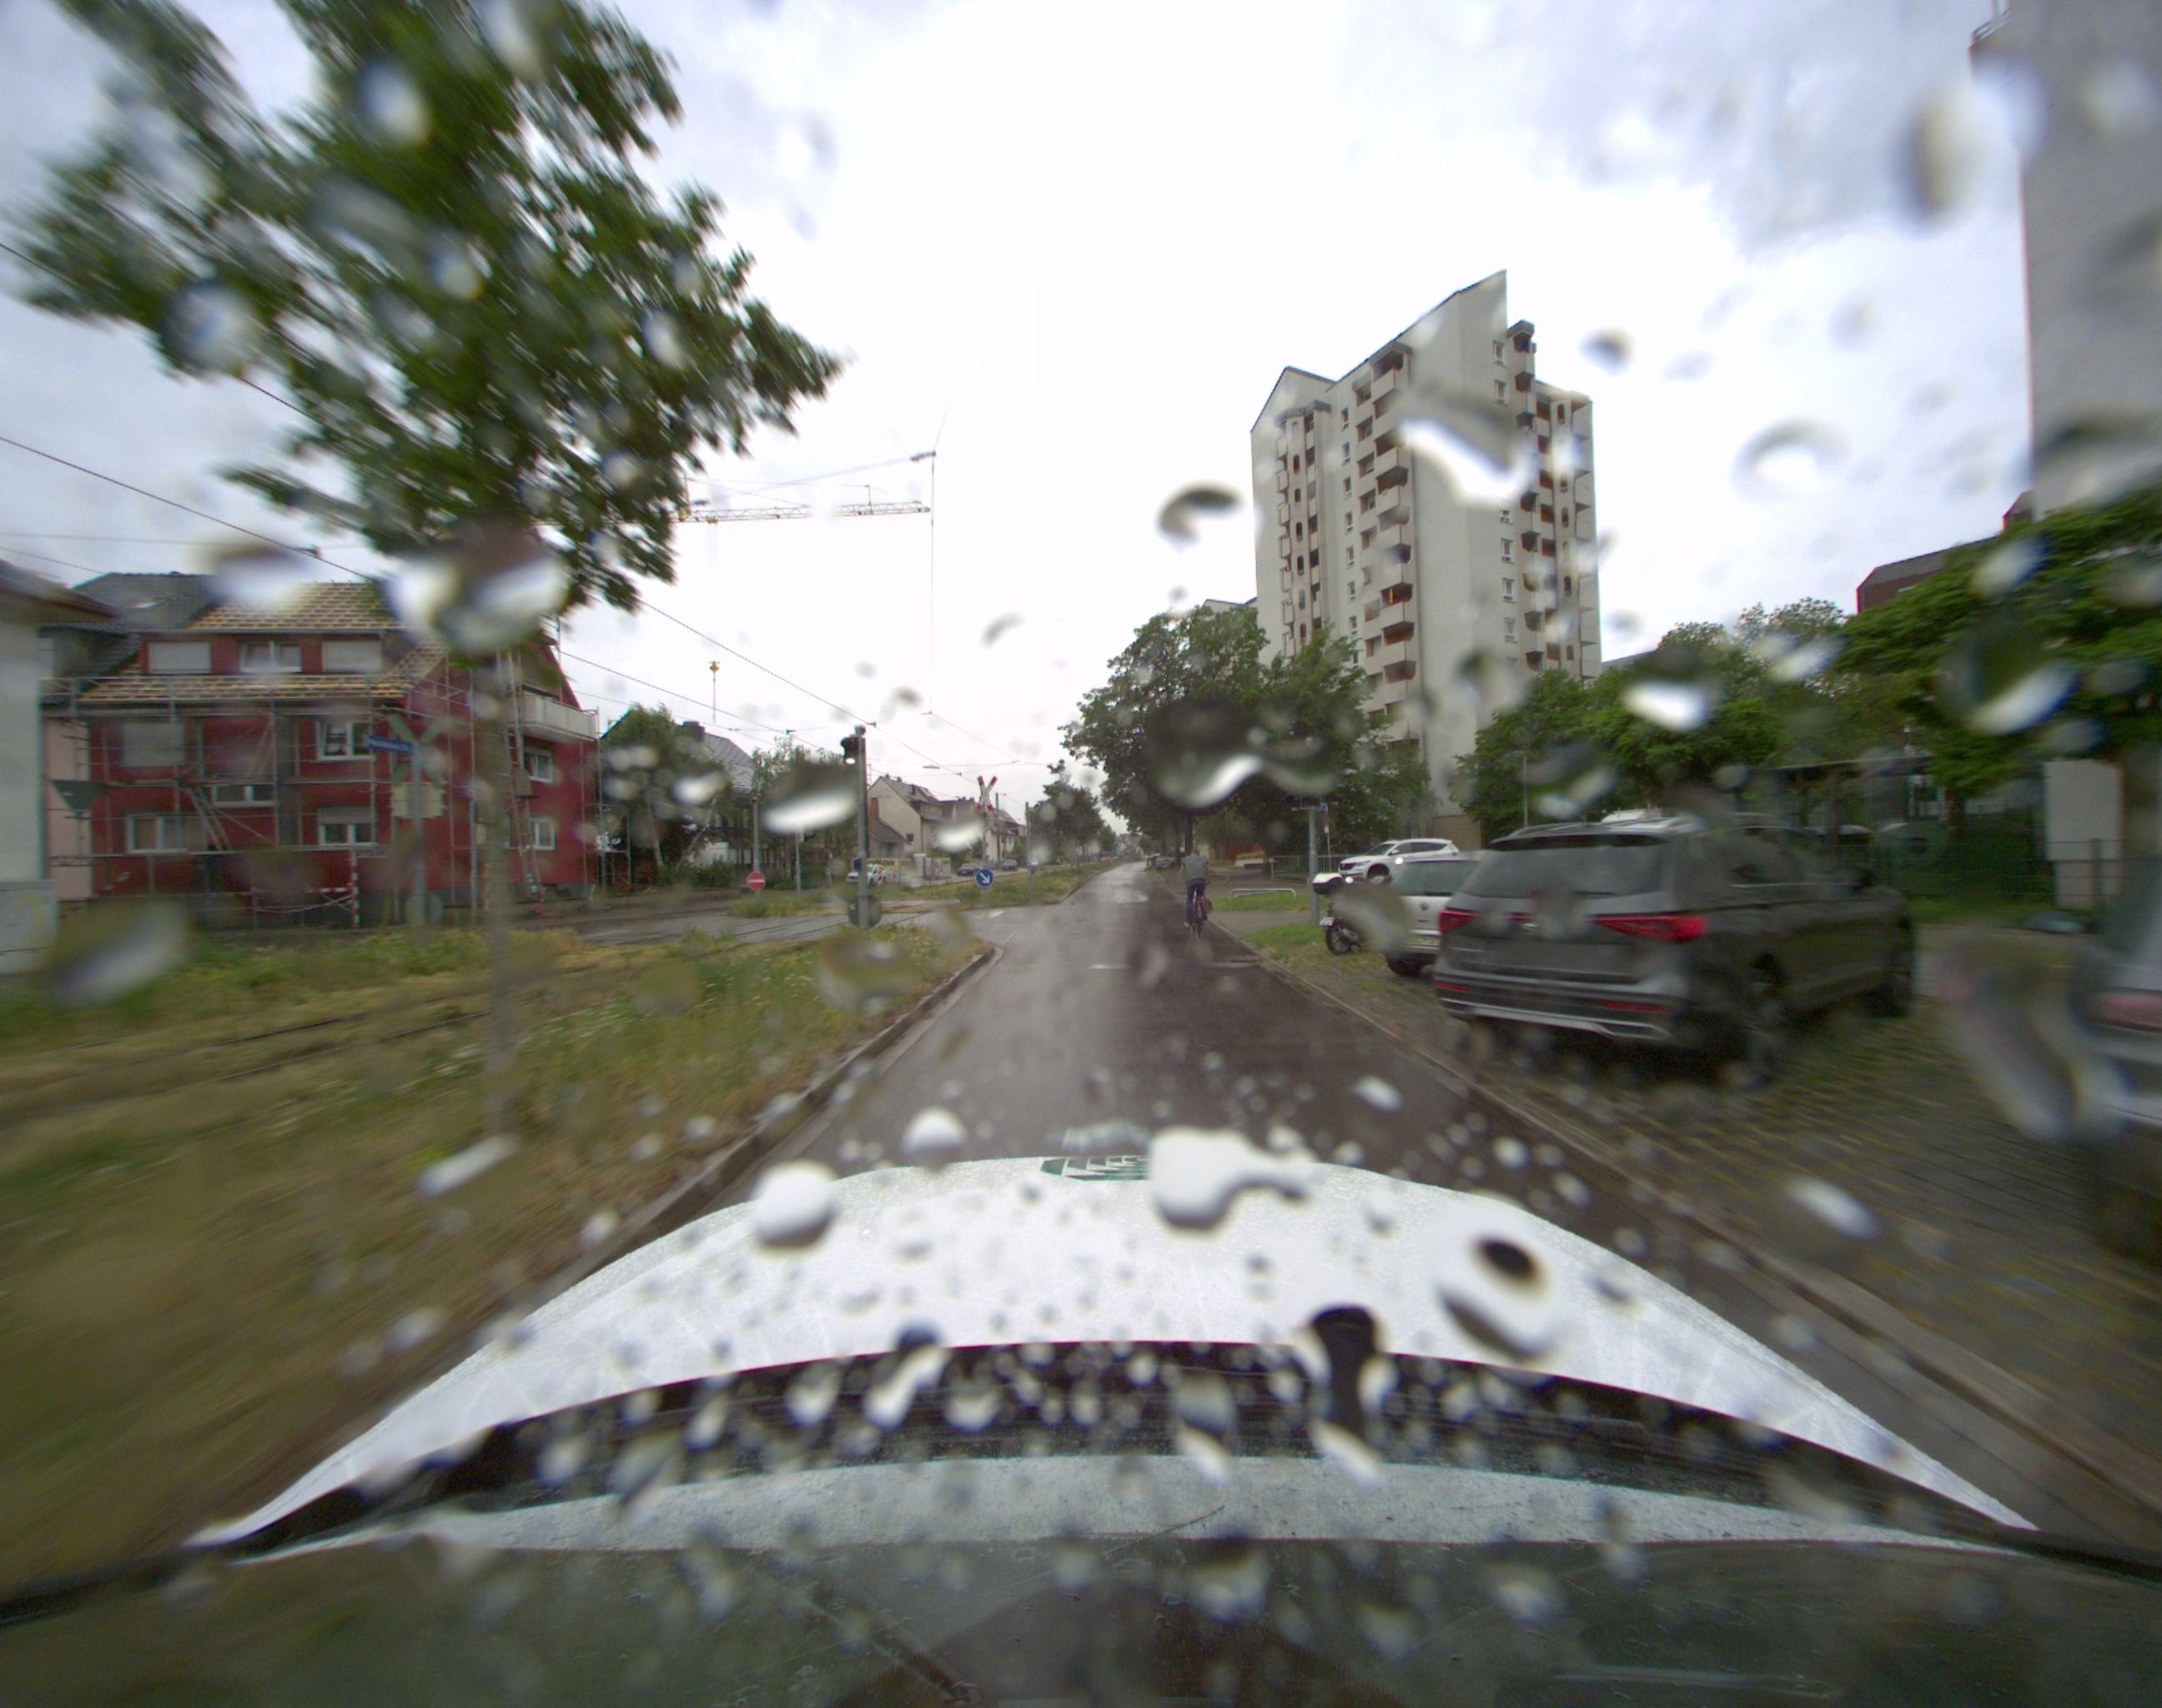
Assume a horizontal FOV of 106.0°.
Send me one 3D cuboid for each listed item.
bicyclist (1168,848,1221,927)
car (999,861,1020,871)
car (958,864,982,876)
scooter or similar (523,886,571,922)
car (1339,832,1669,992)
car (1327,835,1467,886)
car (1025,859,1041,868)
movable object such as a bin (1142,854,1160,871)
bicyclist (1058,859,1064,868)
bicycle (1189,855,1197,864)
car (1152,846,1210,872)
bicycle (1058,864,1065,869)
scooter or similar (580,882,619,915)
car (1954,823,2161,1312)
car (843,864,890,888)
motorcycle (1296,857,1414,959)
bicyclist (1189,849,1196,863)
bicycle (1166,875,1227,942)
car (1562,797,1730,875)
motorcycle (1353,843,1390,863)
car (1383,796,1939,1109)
[{"bbox_3d":[2.163,0.632,15.690,0.807,1.433,1.060,-3,0,0],"label":"bicyclist"},{"bbox_3d":[-9.736,1.647,111.664,1.886,1.244,4.696,0,0,7],"label":"car"},{"bbox_3d":[-11.637,1.652,85.747,1.656,1.244,4.076,0,0,4],"label":"car"},{"bbox_3d":[-18.049,1.691,27.544,0.435,1.129,1.291,-3,-1,33],"label":"scooter or similar"},{"bbox_3d":[5.185,0.554,9.800,4.142,1.423,1.720,-3,0,-34],"label":"car"},{"bbox_3d":[12.388,0.237,31.979,4.807,1.745,1.991,-2,0,-13],"label":"car"},{"bbox_3d":[-7.818,1.534,133.754,1.886,1.469,4.696,0,0,7],"label":"car"},{"bbox_3d":[6.790,0.809,78.550,1.128,1.457,1.393,-8,1,-17],"label":"movable object such as a bin"},{"bbox_3d":[-3.978,1.960,163.582,1.014,1.685,1.093,-2,0,3],"label":"bicyclist"},{"bbox_3d":[12.973,0.646,94.737,0.731,1.056,2.052,-2,0,3],"label":"bicycle"},{"bbox_3d":[7.986,0.408,65.094,4.160,1.719,1.981,-5,1,-29],"label":"car"},{"bbox_3d":[-3.919,2.539,164.061,1.014,1.028,3.200,-2,0,4],"label":"bicycle"},{"bbox_3d":[-18.118,1.663,30.652,0.390,1.180,1.289,-2,-1,18],"label":"scooter or similar"},{"bbox_3d":[5.103,0.593,3.375,4.020,1.429,1.715,-3,0,-39],"label":"car"},{"bbox_3d":[-14.833,1.508,56.551,1.702,1.542,4.428,0,0,5],"label":"car"},{"bbox_3d":[4.112,0.769,12.175,1.787,1.336,0.682,-3,0,-34],"label":"motorcycle"},{"bbox_3d":[12.958,0.205,94.707,0.731,1.594,0.945,-3,0,3],"label":"bicyclist"},{"bbox_3d":[2.185,1.011,15.750,0.807,1.096,2.517,-3,0,1],"label":"bicycle"},{"bbox_3d":[23.485,-0.728,33.891,6.061,2.964,2.121,-2,0,-13],"label":"car"},{"bbox_3d":[19.749,-0.049,55.414,0.889,1.288,2.278,-2,0,-34],"label":"motorcycle"},{"bbox_3d":[4.558,0.466,6.242,4.364,1.651,1.839,-3,0,-31],"label":"car"}]
